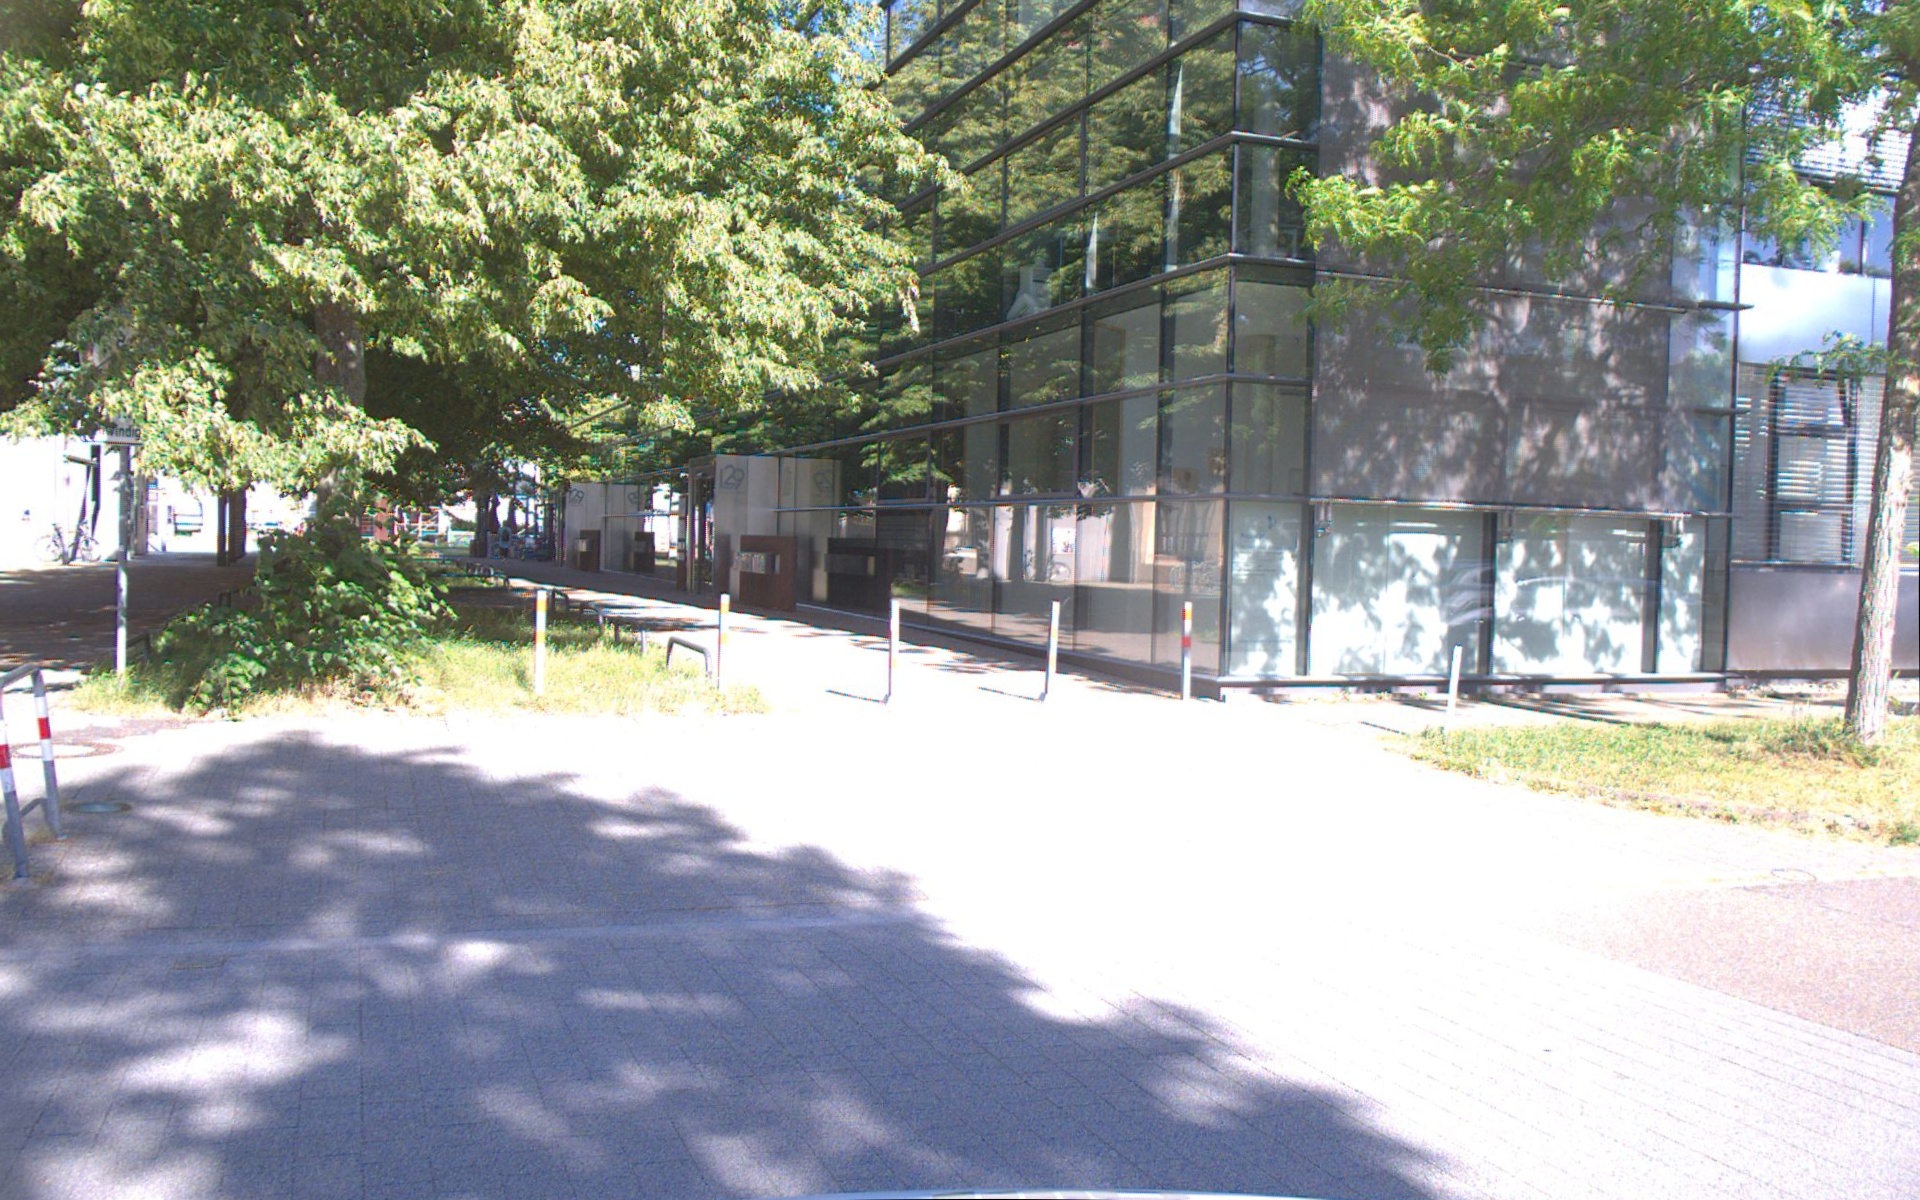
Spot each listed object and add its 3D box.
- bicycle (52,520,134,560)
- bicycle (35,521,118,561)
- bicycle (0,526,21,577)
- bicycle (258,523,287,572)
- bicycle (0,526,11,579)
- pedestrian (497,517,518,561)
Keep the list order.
[{"bbox_3d":[-24.997,-1.737,47.704,2.026,1.084,0.504,1,2,-19],"label":"bicycle"},{"bbox_3d":[-25.059,-1.678,46.943,2.026,1.084,0.504,1,2,-19],"label":"bicycle"},{"bbox_3d":[-23.349,-1.157,38.333,2.696,1.170,0.713,1,2,-25],"label":"bicycle"},{"bbox_3d":[-18.081,-1.389,43.507,0.611,1.217,2.115,1,3,-25],"label":"bicycle"},{"bbox_3d":[-22.619,-1.091,36.640,2.696,1.170,0.713,1,2,-25],"label":"bicycle"},{"bbox_3d":[-16.535,-2.219,60.407,0.704,1.577,0.688,1,2,-14],"label":"pedestrian"}]
